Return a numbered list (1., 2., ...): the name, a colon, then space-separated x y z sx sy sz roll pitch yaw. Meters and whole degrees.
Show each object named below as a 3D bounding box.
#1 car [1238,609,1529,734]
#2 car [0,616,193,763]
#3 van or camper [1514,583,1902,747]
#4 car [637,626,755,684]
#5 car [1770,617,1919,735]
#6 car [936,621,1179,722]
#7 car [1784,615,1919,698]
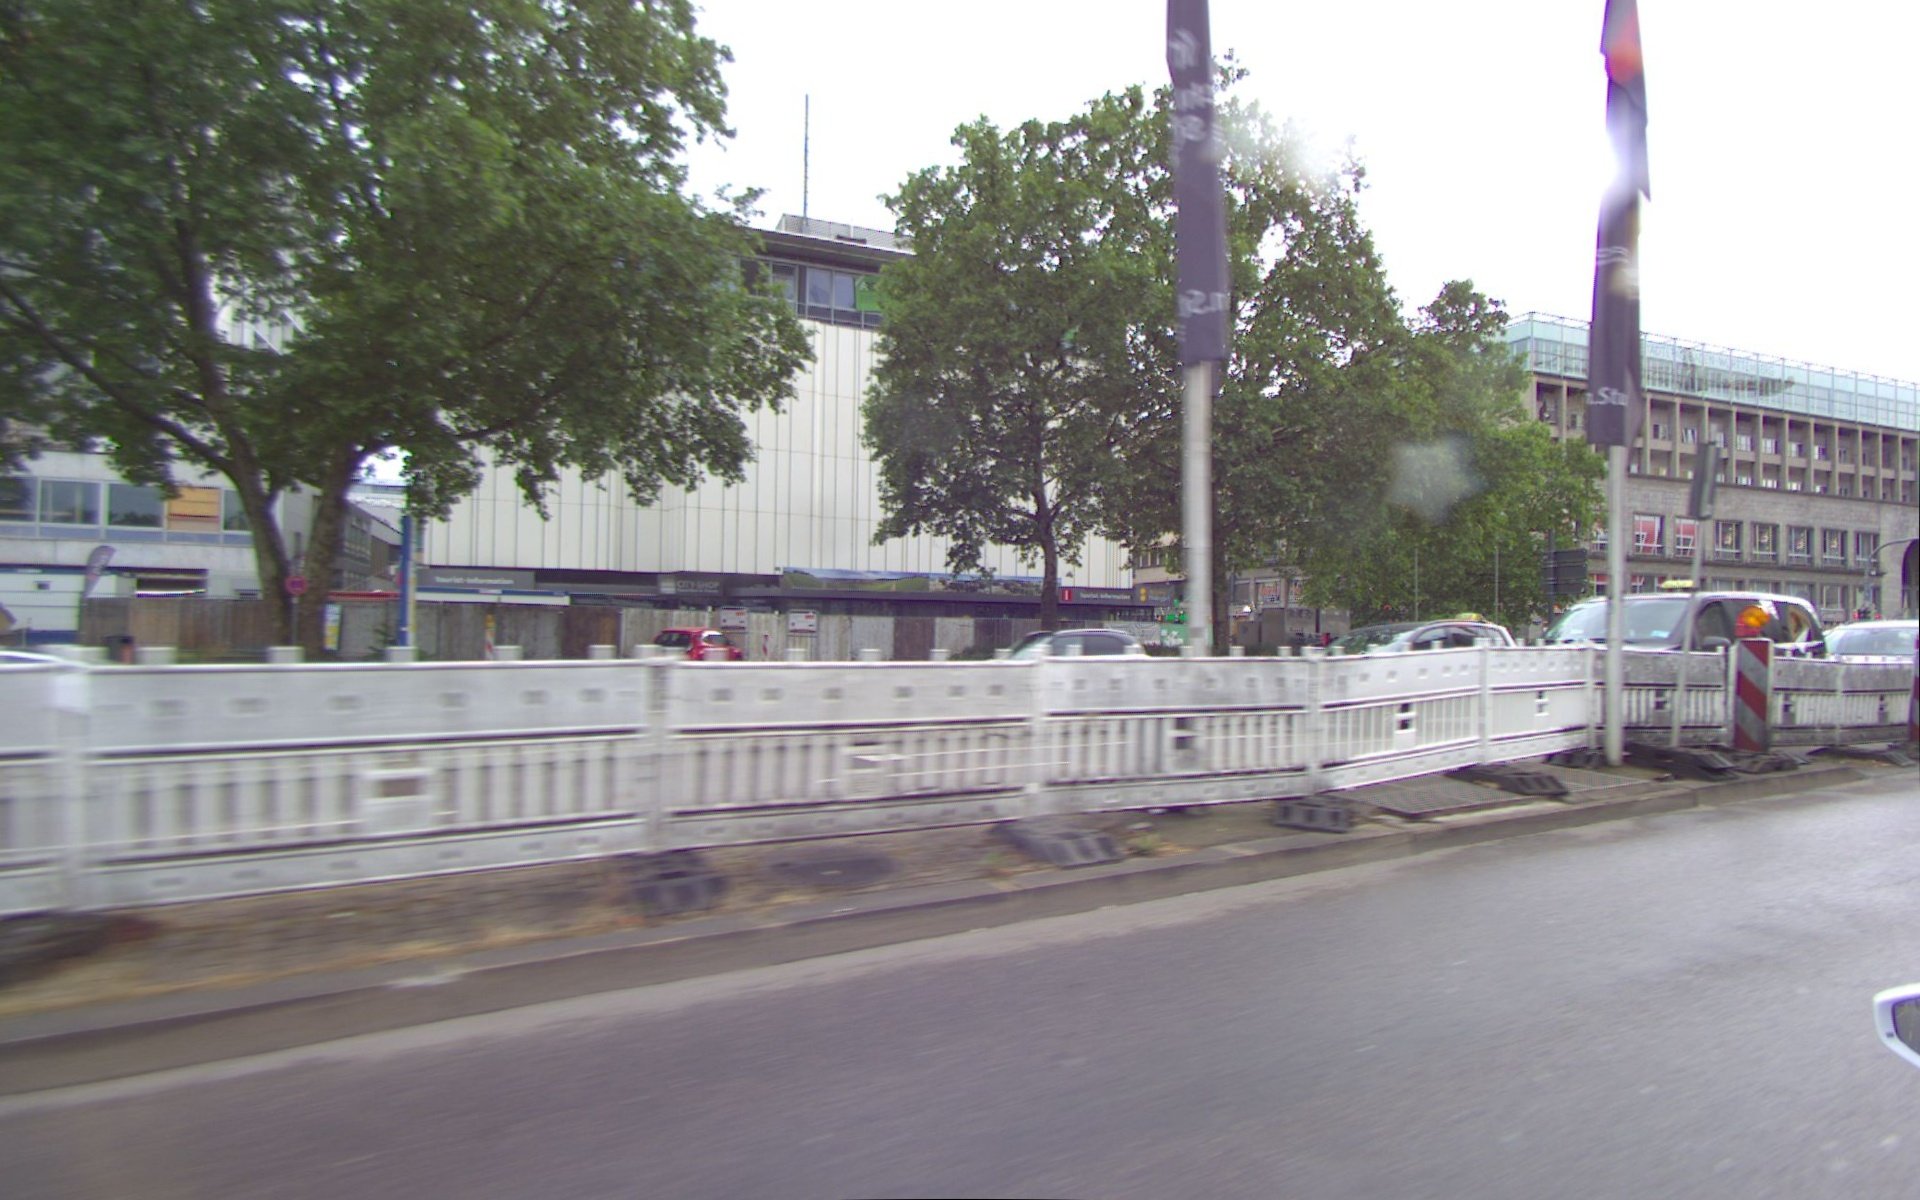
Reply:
1. car: 6.606 1.043 15.616 4.245 1.725 1.884 1 -1 -26
2. car: -12.391 1.029 12.015 4.755 1.653 1.987 1 0 -26
3. van or camper: 10.013 0.802 13.361 5.321 1.844 1.939 2 0 -27
4. car: -7.714 1.596 29.719 1.815 1.563 3.747 1 -2 13
5. car: 16.266 1.215 17.154 4.747 1.794 1.987 1 -2 -27
6. car: 1.856 1.304 19.207 4.238 1.725 1.887 1 0 -22
7. car: 20.912 1.242 22.785 4.424 1.745 1.778 1 -2 -26
